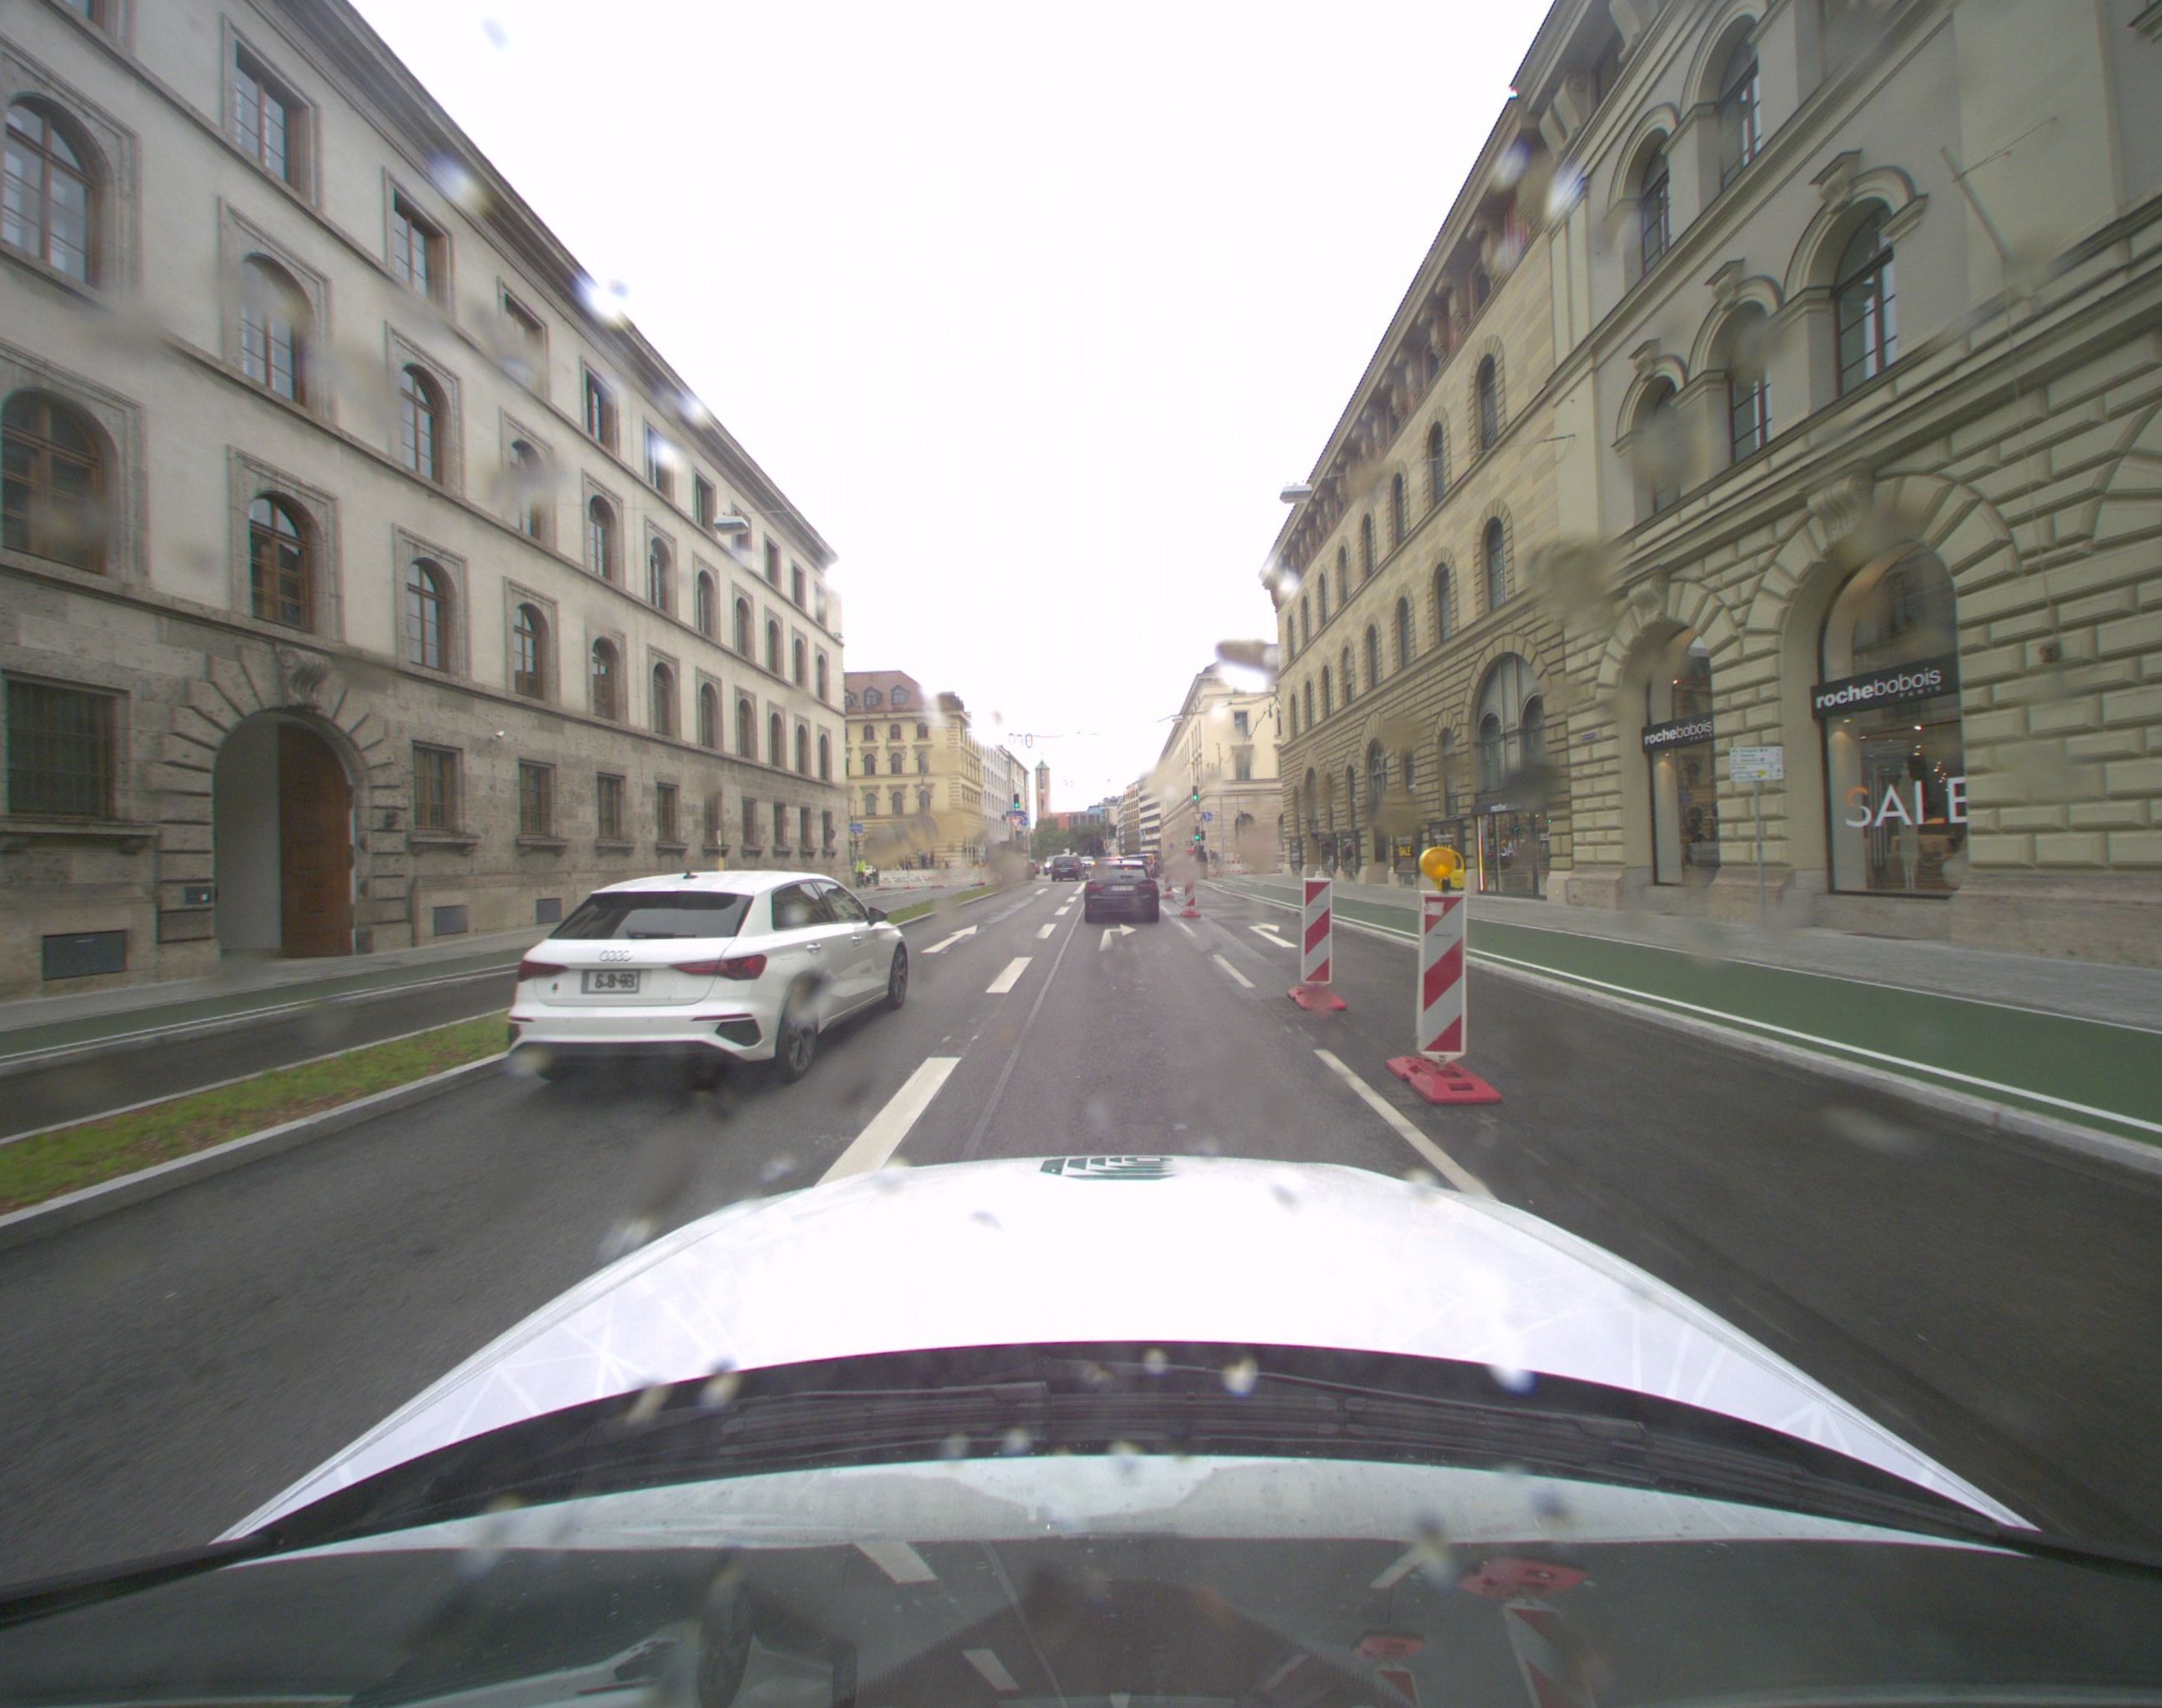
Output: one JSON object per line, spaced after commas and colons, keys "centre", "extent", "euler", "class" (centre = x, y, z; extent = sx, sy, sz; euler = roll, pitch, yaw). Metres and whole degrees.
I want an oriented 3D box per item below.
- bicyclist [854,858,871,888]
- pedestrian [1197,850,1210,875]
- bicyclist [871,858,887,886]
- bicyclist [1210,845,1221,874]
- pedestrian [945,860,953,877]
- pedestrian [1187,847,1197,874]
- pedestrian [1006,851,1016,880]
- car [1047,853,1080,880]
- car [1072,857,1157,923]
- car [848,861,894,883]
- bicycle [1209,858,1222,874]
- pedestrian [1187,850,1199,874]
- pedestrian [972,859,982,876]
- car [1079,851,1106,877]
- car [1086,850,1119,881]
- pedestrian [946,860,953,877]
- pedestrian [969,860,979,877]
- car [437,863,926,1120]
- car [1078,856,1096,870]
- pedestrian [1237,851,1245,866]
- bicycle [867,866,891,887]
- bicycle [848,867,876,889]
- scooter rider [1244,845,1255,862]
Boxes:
{"centre": [-13.187, 1.154, 49.169], "extent": [0.794, 1.748, 0.690], "euler": [-1, 0, 5], "class": "bicyclist"}
{"centre": [7.731, 0.538, 51.369], "extent": [0.699, 1.567, 0.682], "euler": [-1, 0, 4], "class": "pedestrian"}
{"centre": [-12.911, 1.143, 52.123], "extent": [0.794, 1.776, 0.690], "euler": [-1, 0, 5], "class": "bicyclist"}
{"centre": [8.813, 0.370, 53.208], "extent": [0.564, 1.854, 0.799], "euler": [-1, 0, 0], "class": "bicyclist"}
{"centre": [-13.757, 1.511, 85.032], "extent": [0.733, 1.772, 0.737], "euler": [-1, 0, -8], "class": "pedestrian"}
{"centre": [6.872, 0.410, 50.377], "extent": [0.529, 1.620, 0.674], "euler": [-1, 0, 4], "class": "pedestrian"}
{"centre": [-4.367, 0.700, 50.877], "extent": [0.512, 1.743, 1.040], "euler": [-2, 0, -8], "class": "pedestrian"}
{"centre": [-1.096, 0.774, 51.975], "extent": [1.858, 1.601, 3.852], "euler": [-2, 0, 1], "class": "car"}
{"centre": [0.801, 0.810, 19.946], "extent": [1.856, 1.388, 4.002], "euler": [-1, 0, 2], "class": "car"}
{"centre": [-19.187, 1.612, 74.511], "extent": [3.736, 1.798, 1.864], "euler": [-2, -1, -7], "class": "car"}
{"centre": [8.821, 0.774, 53.293], "extent": [0.583, 1.011, 1.656], "euler": [-1, 0, 0], "class": "bicycle"}
{"centre": [7.198, 0.513, 52.376], "extent": [0.699, 1.567, 0.542], "euler": [-1, 0, 4], "class": "pedestrian"}
{"centre": [-11.005, 1.454, 86.449], "extent": [0.727, 1.772, 0.743], "euler": [-1, 0, 23], "class": "pedestrian"}
{"centre": [0.963, 0.777, 65.234], "extent": [1.986, 2.013, 4.001], "euler": [-2, 0, 1], "class": "car"}
{"centre": [1.213, 0.628, 46.419], "extent": [1.763, 1.617, 4.000], "euler": [-1, 0, 1], "class": "car"}
{"centre": [-13.837, 1.531, 85.768], "extent": [0.733, 1.772, 0.737], "euler": [-1, 0, -8], "class": "pedestrian"}
{"centre": [-11.314, 1.488, 85.737], "extent": [0.727, 1.772, 0.765], "euler": [-1, 0, 23], "class": "pedestrian"}
{"centre": [-2.743, 0.820, 6.934], "extent": [1.806, 1.424, 4.454], "euler": [-1, 0, 2], "class": "car"}
{"centre": [0.755, 1.049, 95.762], "extent": [1.986, 1.524, 4.234], "euler": [-2, 0, 1], "class": "car"}
{"centre": [16.409, 0.432, 83.598], "extent": [0.812, 1.557, 0.669], "euler": [-1, 0, 9], "class": "pedestrian"}
{"centre": [-12.911, 1.437, 52.126], "extent": [0.783, 1.242, 2.203], "euler": [-1, 0, 6], "class": "bicycle"}
{"centre": [-13.186, 1.423, 49.158], "extent": [0.783, 1.242, 2.453], "euler": [-1, 0, 6], "class": "bicycle"}
{"centre": [16.311, -0.041, 78.898], "extent": [0.928, 1.622, 0.593], "euler": [-1, 0, 3], "class": "scooter rider"}
